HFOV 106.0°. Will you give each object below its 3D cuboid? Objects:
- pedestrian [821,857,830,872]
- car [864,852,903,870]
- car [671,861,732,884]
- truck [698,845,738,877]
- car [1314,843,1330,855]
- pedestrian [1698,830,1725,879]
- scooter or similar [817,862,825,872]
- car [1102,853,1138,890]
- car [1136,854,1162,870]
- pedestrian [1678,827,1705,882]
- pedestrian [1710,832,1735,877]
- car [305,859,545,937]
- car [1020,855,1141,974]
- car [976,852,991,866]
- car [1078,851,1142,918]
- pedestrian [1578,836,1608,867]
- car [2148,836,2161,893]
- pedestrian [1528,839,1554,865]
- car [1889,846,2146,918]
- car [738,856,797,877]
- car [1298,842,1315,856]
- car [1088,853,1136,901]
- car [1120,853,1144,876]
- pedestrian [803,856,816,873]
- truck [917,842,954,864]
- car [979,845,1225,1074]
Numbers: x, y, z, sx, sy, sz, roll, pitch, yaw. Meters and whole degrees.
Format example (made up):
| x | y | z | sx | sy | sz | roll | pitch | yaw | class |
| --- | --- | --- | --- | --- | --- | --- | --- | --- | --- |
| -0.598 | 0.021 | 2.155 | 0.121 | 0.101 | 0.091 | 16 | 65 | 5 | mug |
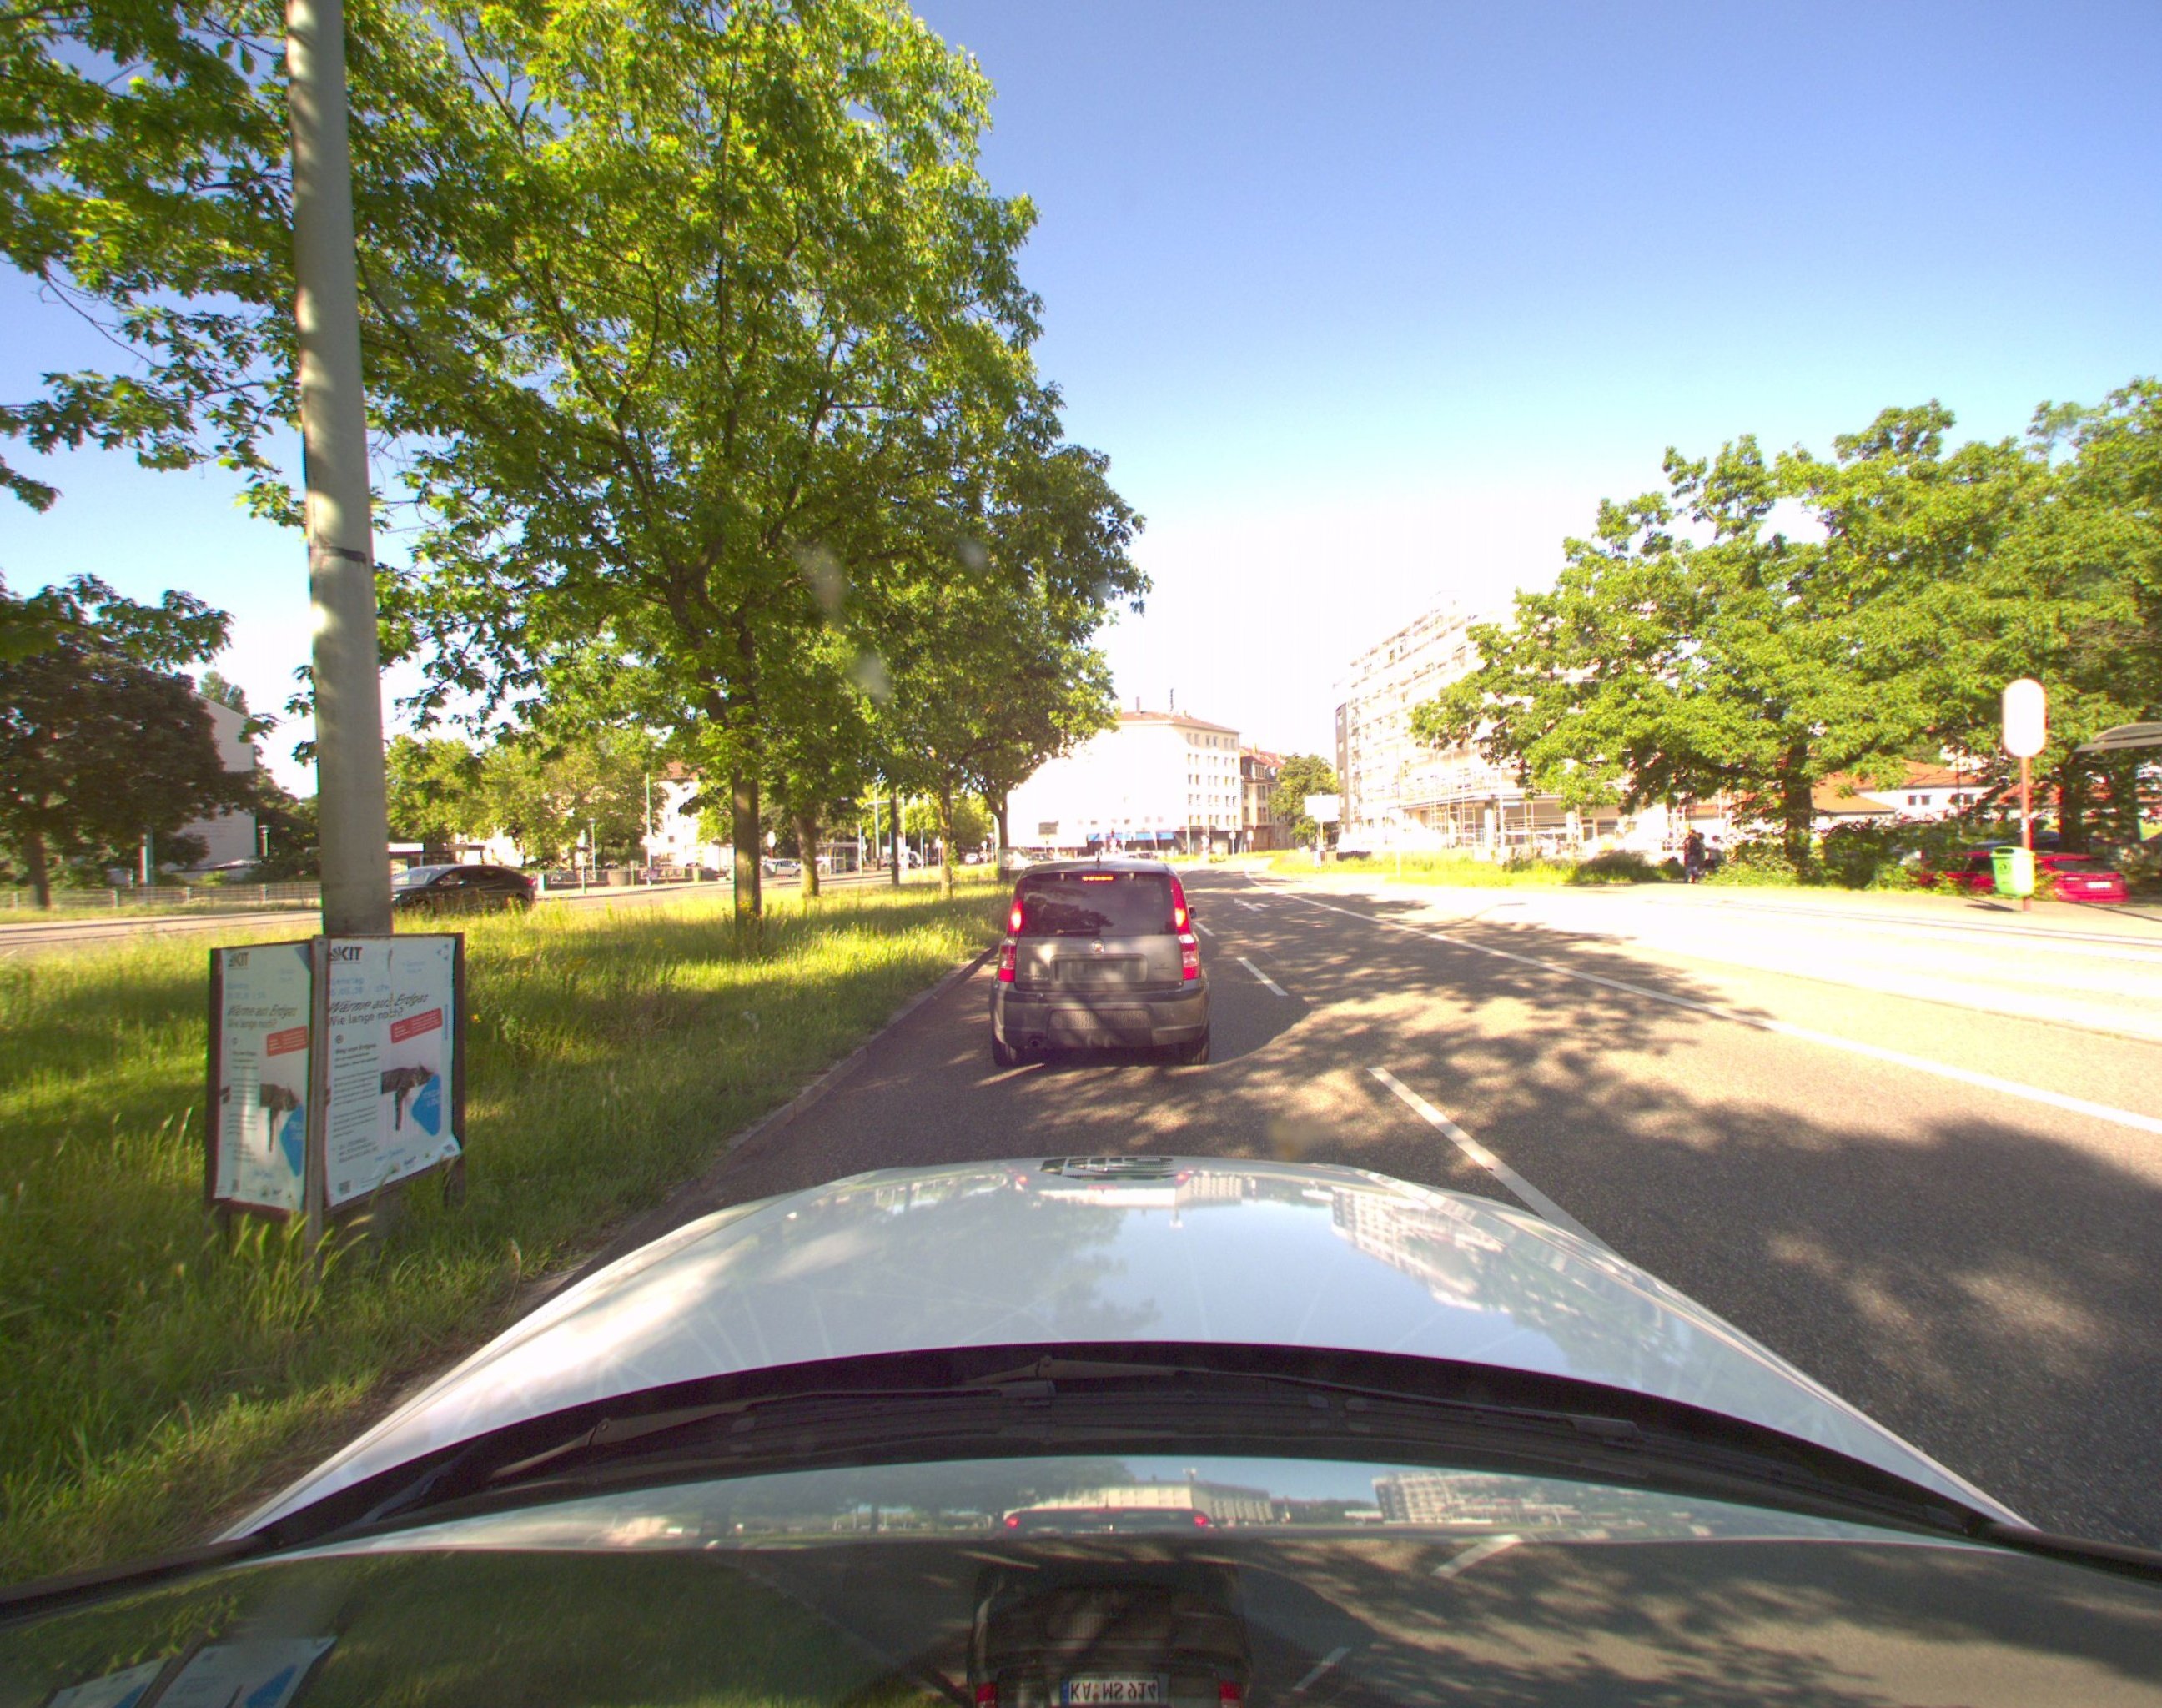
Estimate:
| x | y | z | sx | sy | sz | roll | pitch | yaw | class |
| --- | --- | --- | --- | --- | --- | --- | --- | --- | --- |
| -23.103 | 0.939 | 73.651 | 0.411 | 1.391 | 0.630 | -2 | 0 | 28 | pedestrian |
| -23.951 | 0.886 | 98.938 | 4.164 | 2.013 | 1.931 | -2 | 0 | -1 | car |
| -31.066 | 1.497 | 66.712 | 1.974 | 1.684 | 4.025 | -2 | 0 | 40 | car |
| -33.079 | 0.629 | 74.197 | 2.012 | 2.805 | 3.951 | -2 | 0 | -44 | truck |
| 27.621 | -0.596 | 93.425 | 1.514 | 1.314 | 3.304 | -2 | 0 | 20 | car |
| 19.198 | 0.015 | 24.798 | 0.516 | 1.447 | 0.595 | -2 | 0 | 28 | pedestrian |
| -23.377 | 1.168 | 73.137 | 0.416 | 0.927 | 0.537 | -2 | 0 | 28 | scooter or similar |
| 1.601 | 0.691 | 33.964 | 1.351 | 1.449 | 3.267 | -2 | 0 | 2 | car |
| 4.863 | 0.571 | 57.713 | 1.133 | 1.064 | 2.735 | -2 | 0 | 19 | car |
| 18.515 | 0.012 | 24.709 | 0.516 | 1.612 | 0.595 | -2 | 0 | 28 | pedestrian |
| 20.898 | 0.013 | 26.546 | 0.516 | 1.447 | 0.595 | -2 | 0 | 28 | pedestrian |
| -16.279 | 1.010 | 20.569 | 1.813 | 1.647 | 4.478 | -2 | 0 | 14 | car |
| 0.051 | 0.748 | 11.759 | 1.458 | 1.401 | 3.395 | -2 | 0 | 2 | car |
| -14.850 | 0.701 | 124.155 | 1.988 | 2.013 | 3.997 | -2 | 0 | -2 | car |
| 0.726 | 0.698 | 20.791 | 1.458 | 1.508 | 3.506 | -2 | 1 | 2 | car |
| 27.228 | -0.134 | 43.290 | 0.893 | 1.653 | 0.979 | -2 | 0 | -26 | pedestrian |
| 29.863 | 0.244 | 20.177 | 1.911 | 1.486 | 3.725 | -2 | 0 | -17 | car |
| 26.394 | -0.093 | 46.694 | 0.898 | 1.447 | 0.956 | -2 | 0 | -33 | pedestrian |
| 21.988 | 0.597 | 19.373 | 1.747 | 1.486 | 3.743 | -2 | 0 | -2 | car |
| -27.322 | 1.066 | 71.061 | 1.974 | 1.684 | 4.348 | -2 | 0 | 40 | car |
| 24.910 | -0.545 | 89.995 | 1.669 | 1.449 | 3.588 | -2 | 0 | 18 | car |
| 1.029 | 0.727 | 27.367 | 1.458 | 1.424 | 3.383 | -2 | 1 | 2 | car |
| 3.094 | 0.618 | 49.674 | 1.351 | 1.281 | 2.877 | -2 | 0 | 2 | car |
| -26.249 | 1.026 | 78.622 | 0.910 | 1.607 | 0.802 | -2 | 0 | 41 | pedestrian |
| -23.016 | -0.150 | 128.565 | 5.425 | 3.168 | 2.358 | -2 | 0 | 30 | truck |
| 0.207 | 0.704 | 7.531 | 1.622 | 1.508 | 4.002 | -2 | 0 | 2 | car |
